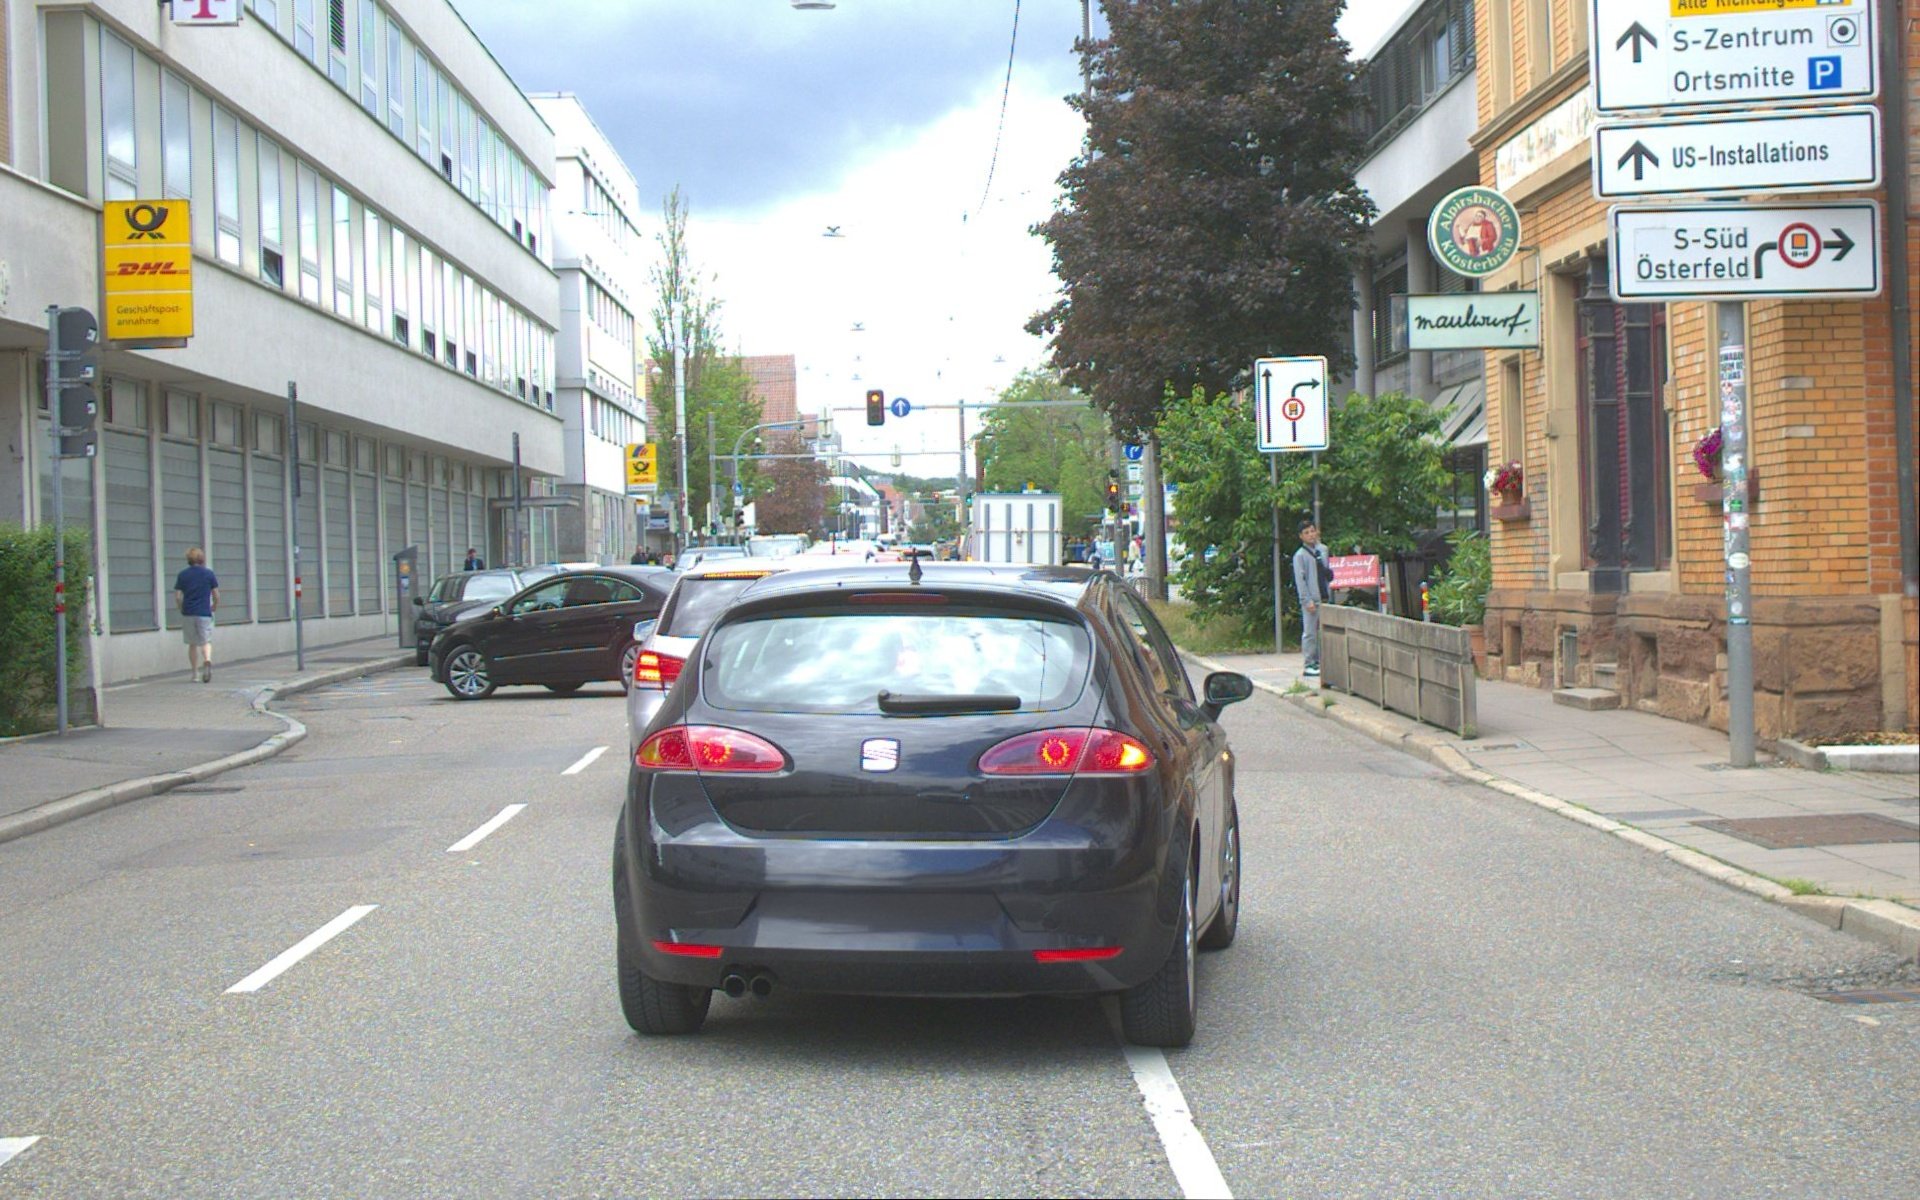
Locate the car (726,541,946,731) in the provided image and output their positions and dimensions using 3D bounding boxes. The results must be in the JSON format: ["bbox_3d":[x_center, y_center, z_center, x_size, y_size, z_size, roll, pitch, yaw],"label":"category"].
[{"bbox_3d":[-1.087,0.269,30.601,1.803,1.547,3.738,-1,1,-1],"label":"car"}]

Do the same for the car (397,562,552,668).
[{"bbox_3d":[-7.656,0.203,54.567,1.912,1.511,4.175,-3,1,-1],"label":"car"}]

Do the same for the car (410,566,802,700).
[{"bbox_3d":[-3.955,0.343,37.934,4.409,1.361,1.781,0,1,42],"label":"car"}]

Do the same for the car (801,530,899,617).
[{"bbox_3d":[-2.062,-0.519,64.949,1.803,1.596,3.738,0,1,-1],"label":"car"}]

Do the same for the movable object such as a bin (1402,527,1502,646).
[{"bbox_3d":[6.362,-0.179,44.557,0.943,1.465,1.446,-3,1,-3],"label":"movable object such as a bin"}]

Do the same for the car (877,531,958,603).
[{"bbox_3d":[-0.992,-0.772,78.713,1.803,1.596,3.738,0,1,-1],"label":"car"}]

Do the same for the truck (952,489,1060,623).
[{"bbox_3d":[0.906,-0.894,69.196,1.993,2.598,3.260,-1,1,-1],"label":"truck"}]

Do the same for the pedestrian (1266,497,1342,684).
[{"bbox_3d":[3.754,-0.108,37.576,0.693,2.007,0.677,-2,1,-2],"label":"pedestrian"}]

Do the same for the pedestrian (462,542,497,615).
[{"bbox_3d":[-10.895,-0.492,78.006,0.656,1.617,0.681,-1,1,0],"label":"pedestrian"}]

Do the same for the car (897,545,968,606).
[{"bbox_3d":[-0.746,-0.668,91.408,1.803,1.596,3.738,0,1,-1],"label":"car"}]

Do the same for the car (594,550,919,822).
[{"bbox_3d":[-1.196,0.458,21.292,1.803,1.487,3.738,-1,1,-1],"label":"car"}]

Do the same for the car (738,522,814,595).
[{"bbox_3d":[-5.329,-1.230,100.228,1.993,2.007,4.903,-2,1,-1],"label":"car"}]

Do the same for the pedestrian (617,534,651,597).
[{"bbox_3d":[-9.818,-1.046,103.670,0.918,1.862,0.783,-1,1,-1],"label":"pedestrian"}]

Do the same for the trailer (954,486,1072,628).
[{"bbox_3d":[0.976,-0.840,66.425,1.993,2.598,5.350,-1,1,-1],"label":"trailer"}]

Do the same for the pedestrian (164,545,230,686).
[{"bbox_3d":[-9.701,0.187,43.721,0.642,1.763,0.810,-1,1,-2],"label":"pedestrian"}]

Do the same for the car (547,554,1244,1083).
[{"bbox_3d":[-0.033,0.590,11.467,1.766,1.428,3.827,-1,1,7],"label":"car"}]

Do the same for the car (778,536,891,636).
[{"bbox_3d":[-2.059,-0.258,57.050,1.803,1.596,3.738,0,1,-1],"label":"car"}]
